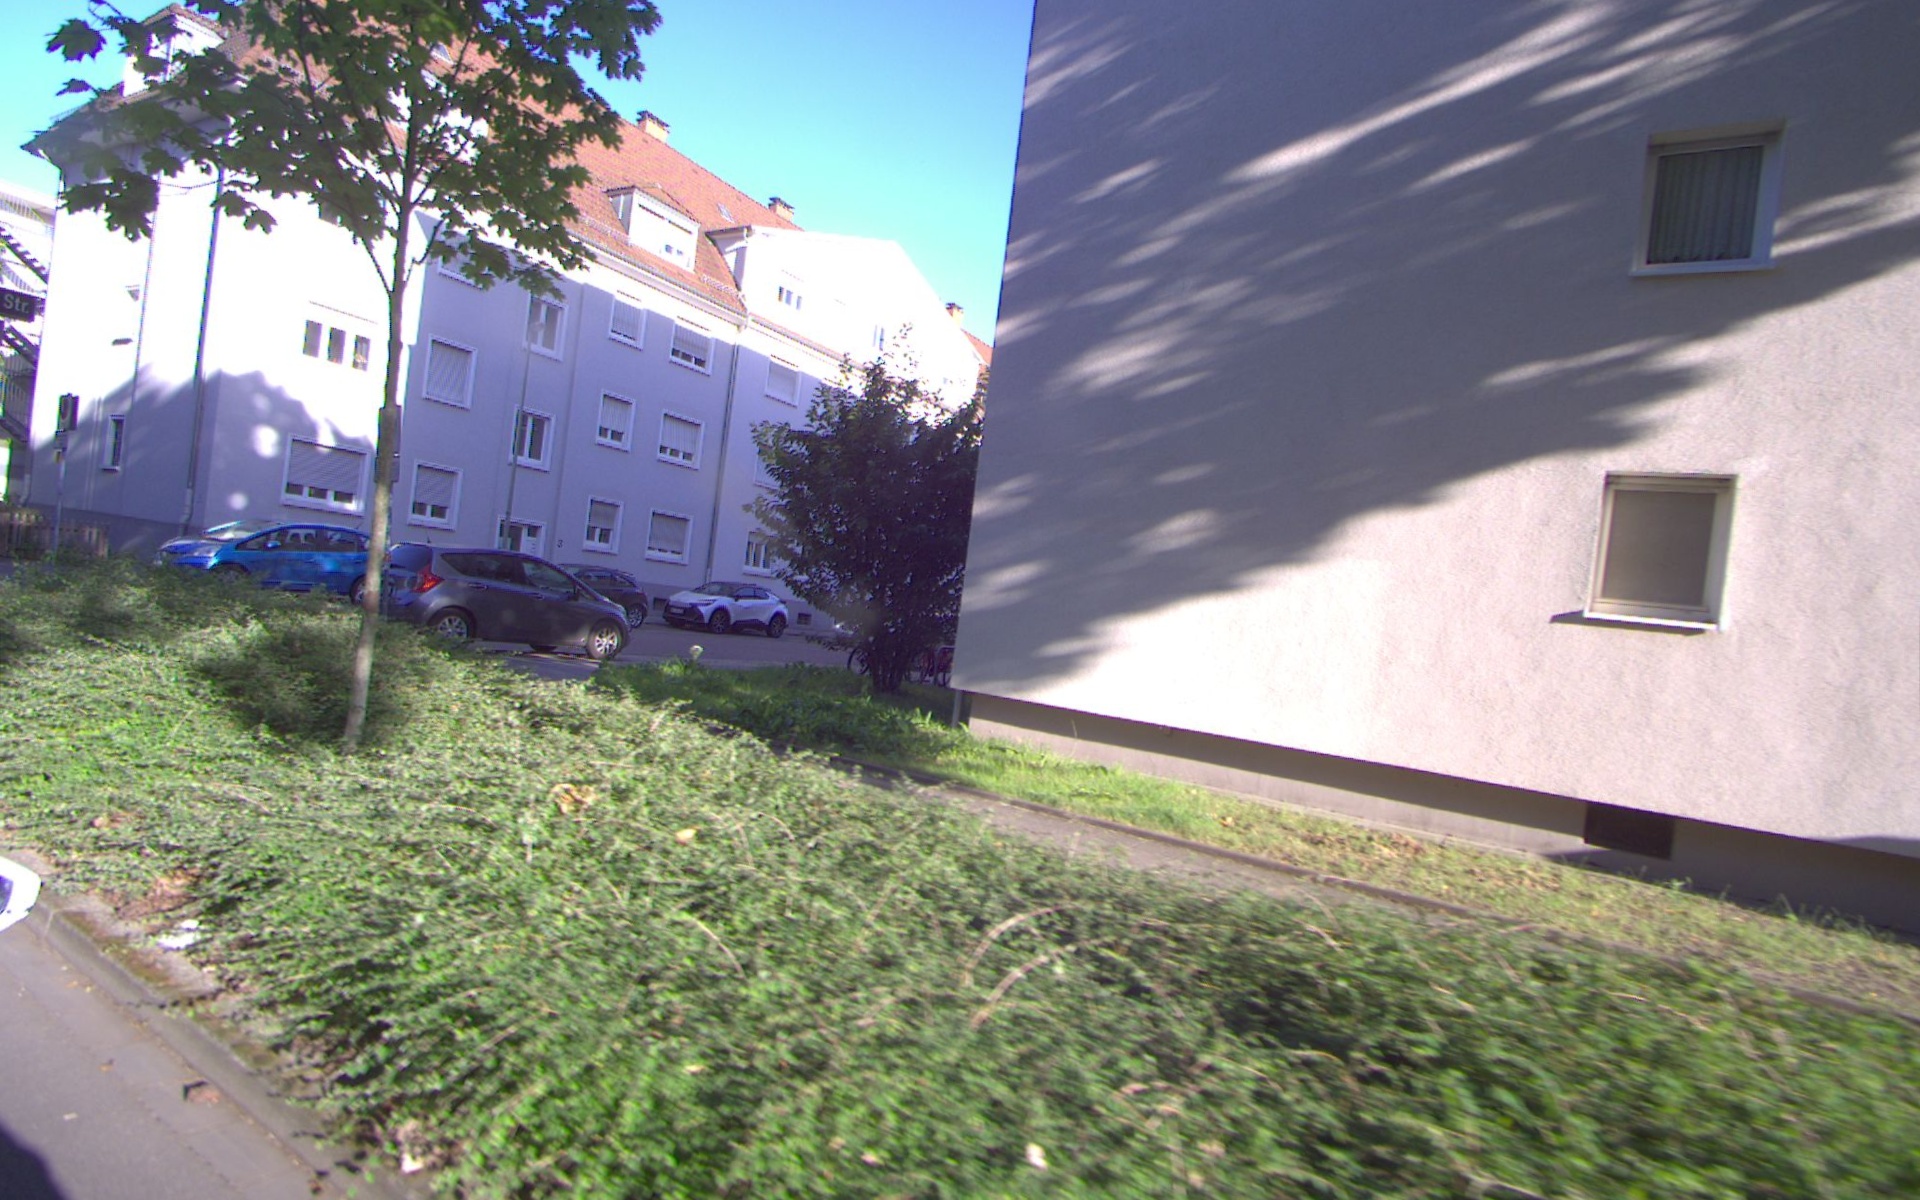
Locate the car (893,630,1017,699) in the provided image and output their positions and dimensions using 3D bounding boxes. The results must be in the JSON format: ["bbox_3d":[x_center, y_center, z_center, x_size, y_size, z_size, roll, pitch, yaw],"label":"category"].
[{"bbox_3d":[-0.067,2.077,31.625,1.740,1.692,4.275,7,-3,32],"label":"car"}]

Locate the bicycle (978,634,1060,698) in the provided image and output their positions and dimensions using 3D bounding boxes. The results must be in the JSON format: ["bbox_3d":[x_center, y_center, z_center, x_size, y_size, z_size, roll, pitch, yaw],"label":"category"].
[{"bbox_3d":[1.028,1.135,17.010,0.536,0.971,1.975,7,-1,27],"label":"bicycle"}]

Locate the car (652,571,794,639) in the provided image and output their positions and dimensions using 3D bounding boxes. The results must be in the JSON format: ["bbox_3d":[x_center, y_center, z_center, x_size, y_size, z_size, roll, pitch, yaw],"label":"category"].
[{"bbox_3d":[-7.044,0.194,30.287,1.705,1.515,4.022,8,-1,30],"label":"car"}]

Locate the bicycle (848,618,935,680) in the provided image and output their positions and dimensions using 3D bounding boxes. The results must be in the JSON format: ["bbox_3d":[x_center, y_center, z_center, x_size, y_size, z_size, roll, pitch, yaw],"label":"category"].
[{"bbox_3d":[-1.195,0.893,18.006,0.536,0.971,1.906,7,-1,27],"label":"bicycle"}]

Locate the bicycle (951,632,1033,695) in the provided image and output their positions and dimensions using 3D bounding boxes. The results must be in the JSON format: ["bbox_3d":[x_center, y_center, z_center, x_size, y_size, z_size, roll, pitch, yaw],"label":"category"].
[{"bbox_3d":[0.593,1.137,17.631,0.536,0.971,1.975,7,-1,27],"label":"bicycle"}]

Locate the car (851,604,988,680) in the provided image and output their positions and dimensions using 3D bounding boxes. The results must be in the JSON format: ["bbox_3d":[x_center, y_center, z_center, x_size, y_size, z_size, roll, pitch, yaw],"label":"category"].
[{"bbox_3d":[-0.958,1.111,25.803,1.720,1.511,3.498,8,-1,31],"label":"car"}]

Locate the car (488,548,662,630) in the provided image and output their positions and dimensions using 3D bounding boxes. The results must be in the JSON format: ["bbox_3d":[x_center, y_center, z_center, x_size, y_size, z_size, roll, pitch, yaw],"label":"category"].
[{"bbox_3d":[-9.640,-0.233,25.477,1.620,1.515,3.832,8,-1,30],"label":"car"}]

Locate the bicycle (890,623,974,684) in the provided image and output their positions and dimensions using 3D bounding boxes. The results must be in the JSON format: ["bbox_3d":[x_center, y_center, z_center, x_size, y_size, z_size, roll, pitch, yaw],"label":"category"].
[{"bbox_3d":[-0.473,0.990,18.132,0.536,0.971,1.975,7,-1,27],"label":"bicycle"}]

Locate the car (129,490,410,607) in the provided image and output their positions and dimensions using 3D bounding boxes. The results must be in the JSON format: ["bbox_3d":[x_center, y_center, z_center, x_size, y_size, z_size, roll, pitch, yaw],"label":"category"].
[{"bbox_3d":[-13.155,-0.917,19.430,1.778,1.600,3.996,9,0,28],"label":"car"}]

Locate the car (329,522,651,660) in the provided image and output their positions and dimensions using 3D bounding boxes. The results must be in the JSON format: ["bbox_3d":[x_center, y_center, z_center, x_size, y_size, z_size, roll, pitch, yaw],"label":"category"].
[{"bbox_3d":[-6.842,-0.044,15.115,1.697,1.531,4.051,6,-2,29],"label":"car"}]

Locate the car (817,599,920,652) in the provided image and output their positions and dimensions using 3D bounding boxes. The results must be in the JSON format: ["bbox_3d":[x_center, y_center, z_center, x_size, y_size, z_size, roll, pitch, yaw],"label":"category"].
[{"bbox_3d":[-2.986,0.903,33.601,1.682,1.367,3.800,6,-2,24],"label":"car"}]

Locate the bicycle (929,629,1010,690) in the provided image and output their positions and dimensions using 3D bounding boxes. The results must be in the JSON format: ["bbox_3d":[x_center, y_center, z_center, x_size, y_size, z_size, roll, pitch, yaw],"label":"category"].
[{"bbox_3d":[0.200,1.090,18.134,0.536,0.971,1.975,7,-1,27],"label":"bicycle"}]
